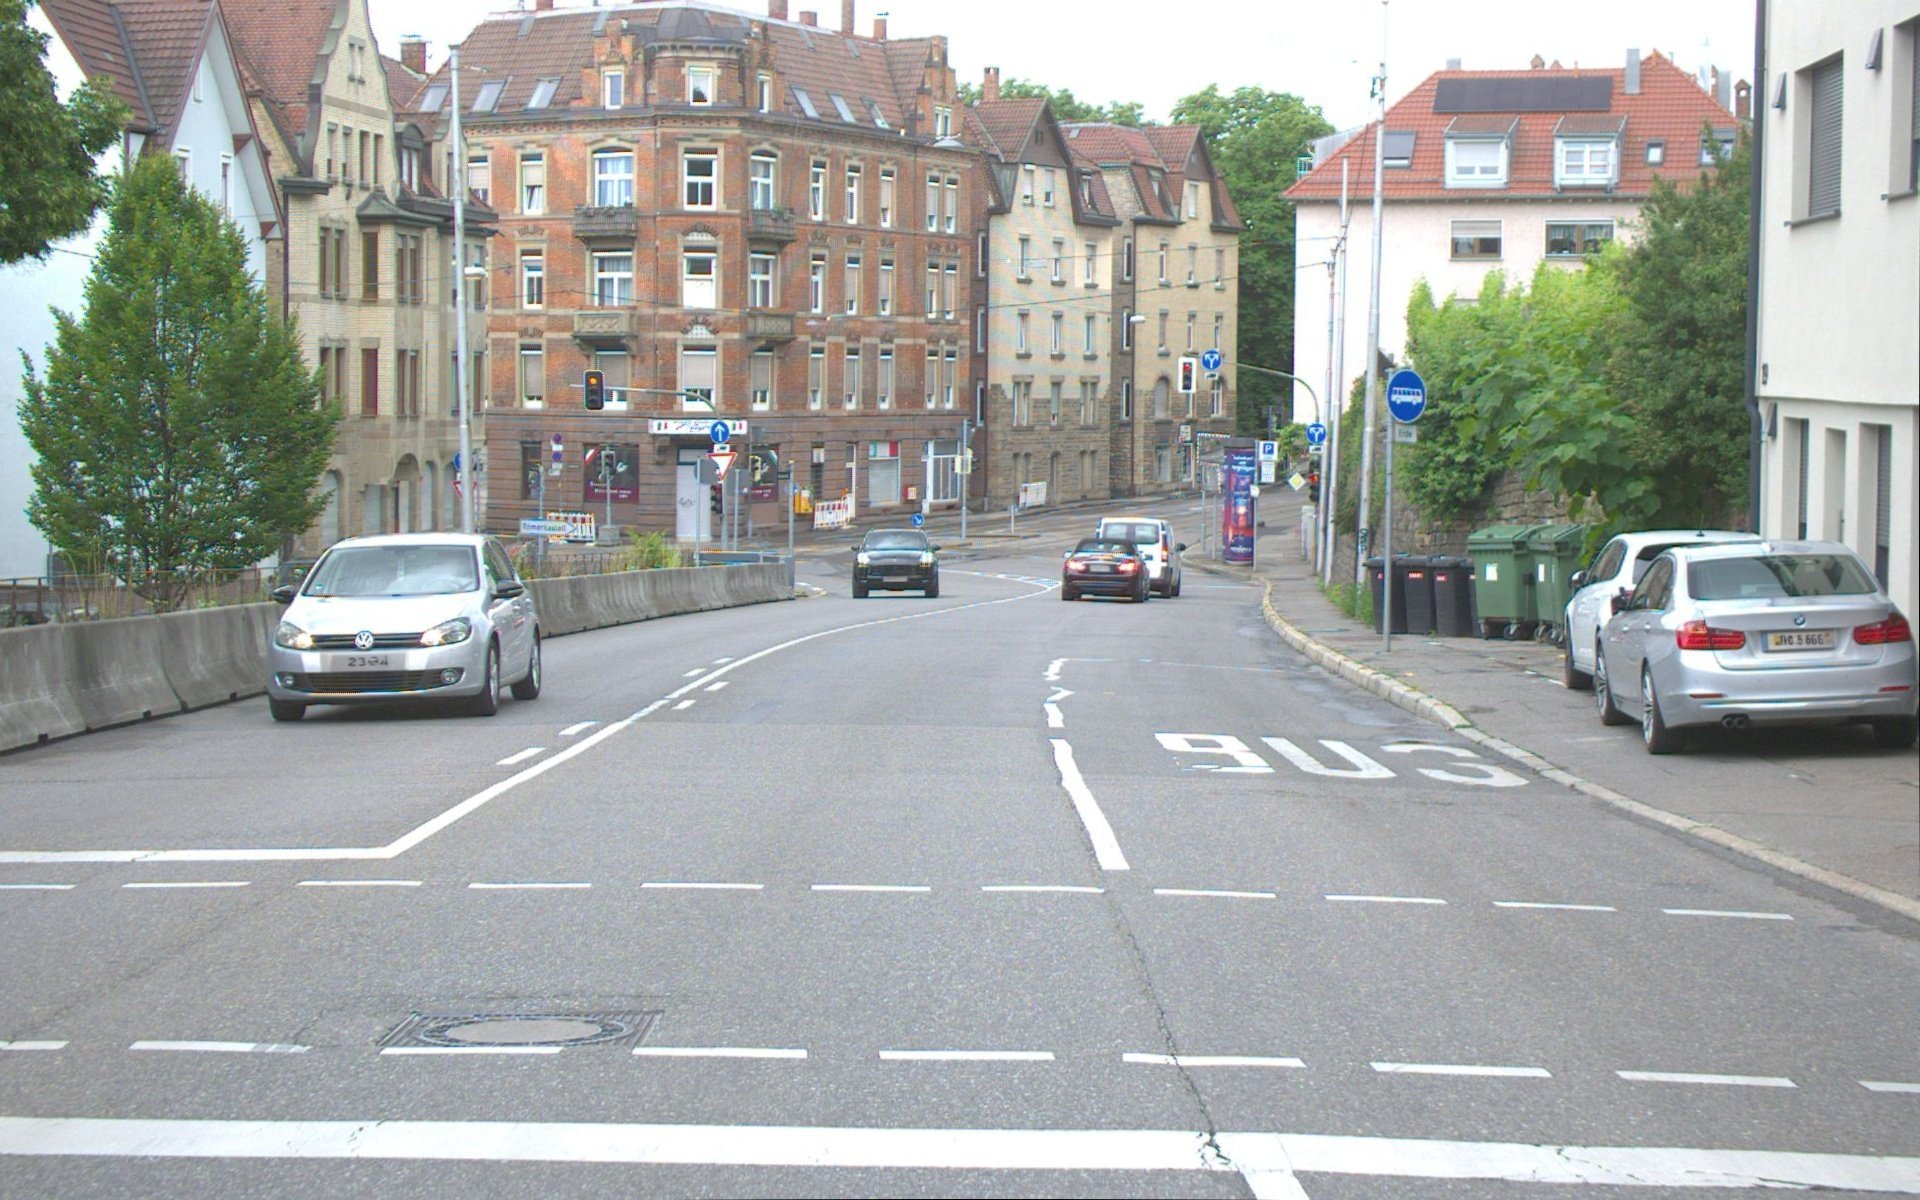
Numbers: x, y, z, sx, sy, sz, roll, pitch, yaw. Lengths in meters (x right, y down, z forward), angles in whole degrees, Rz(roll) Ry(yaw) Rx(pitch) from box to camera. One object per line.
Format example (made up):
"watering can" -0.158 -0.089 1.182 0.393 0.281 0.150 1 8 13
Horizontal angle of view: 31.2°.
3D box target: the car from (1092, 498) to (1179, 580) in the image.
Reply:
"car" 4.259 -1.468 83.174 1.909 1.877 3.999 2 1 5

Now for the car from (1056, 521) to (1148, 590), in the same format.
"car" 3.181 -1.011 76.196 1.817 1.425 4.000 2 2 5

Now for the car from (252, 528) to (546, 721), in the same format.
"car" -4.509 0.143 28.189 1.720 1.440 4.159 -1 1 0

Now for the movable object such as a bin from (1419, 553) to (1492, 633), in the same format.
"movable object such as a bin" 6.528 -0.094 45.321 0.742 1.055 0.679 0 1 -14

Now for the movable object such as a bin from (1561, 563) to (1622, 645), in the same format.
"movable object such as a bin" 7.318 0.048 39.847 0.594 0.939 0.640 0 0 1

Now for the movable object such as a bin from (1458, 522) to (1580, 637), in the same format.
"movable object such as a bin" 7.099 -0.267 43.736 1.047 1.440 1.419 0 1 -14

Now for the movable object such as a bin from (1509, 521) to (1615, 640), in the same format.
"movable object such as a bin" 7.368 -0.243 42.147 1.047 1.440 1.205 0 1 -2

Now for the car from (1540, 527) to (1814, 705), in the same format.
"car" 6.160 0.092 29.934 1.794 1.418 4.004 -1 1 4

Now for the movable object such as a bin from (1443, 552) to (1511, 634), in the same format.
"movable object such as a bin" 6.717 -0.097 44.700 0.709 1.055 0.547 0 0 -14

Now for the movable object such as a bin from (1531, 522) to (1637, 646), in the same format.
"movable object such as a bin" 7.397 -0.198 40.811 1.047 1.440 1.205 0 1 1

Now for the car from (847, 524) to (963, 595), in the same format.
"car" -1.237 -0.957 79.444 1.982 1.569 4.374 -1 1 8

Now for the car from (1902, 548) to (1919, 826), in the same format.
"car" 5.795 0.434 15.986 1.681 1.446 4.000 -3 1 0

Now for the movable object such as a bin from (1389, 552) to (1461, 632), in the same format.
"movable object such as a bin" 6.231 -0.106 46.079 0.742 1.055 0.679 0 1 -14

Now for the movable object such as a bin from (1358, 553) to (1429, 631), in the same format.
"movable object such as a bin" 5.888 -0.112 46.721 0.742 1.055 0.679 0 1 -14

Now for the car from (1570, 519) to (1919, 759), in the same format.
"car" 5.608 0.200 24.839 1.794 1.446 4.718 -3 2 4
